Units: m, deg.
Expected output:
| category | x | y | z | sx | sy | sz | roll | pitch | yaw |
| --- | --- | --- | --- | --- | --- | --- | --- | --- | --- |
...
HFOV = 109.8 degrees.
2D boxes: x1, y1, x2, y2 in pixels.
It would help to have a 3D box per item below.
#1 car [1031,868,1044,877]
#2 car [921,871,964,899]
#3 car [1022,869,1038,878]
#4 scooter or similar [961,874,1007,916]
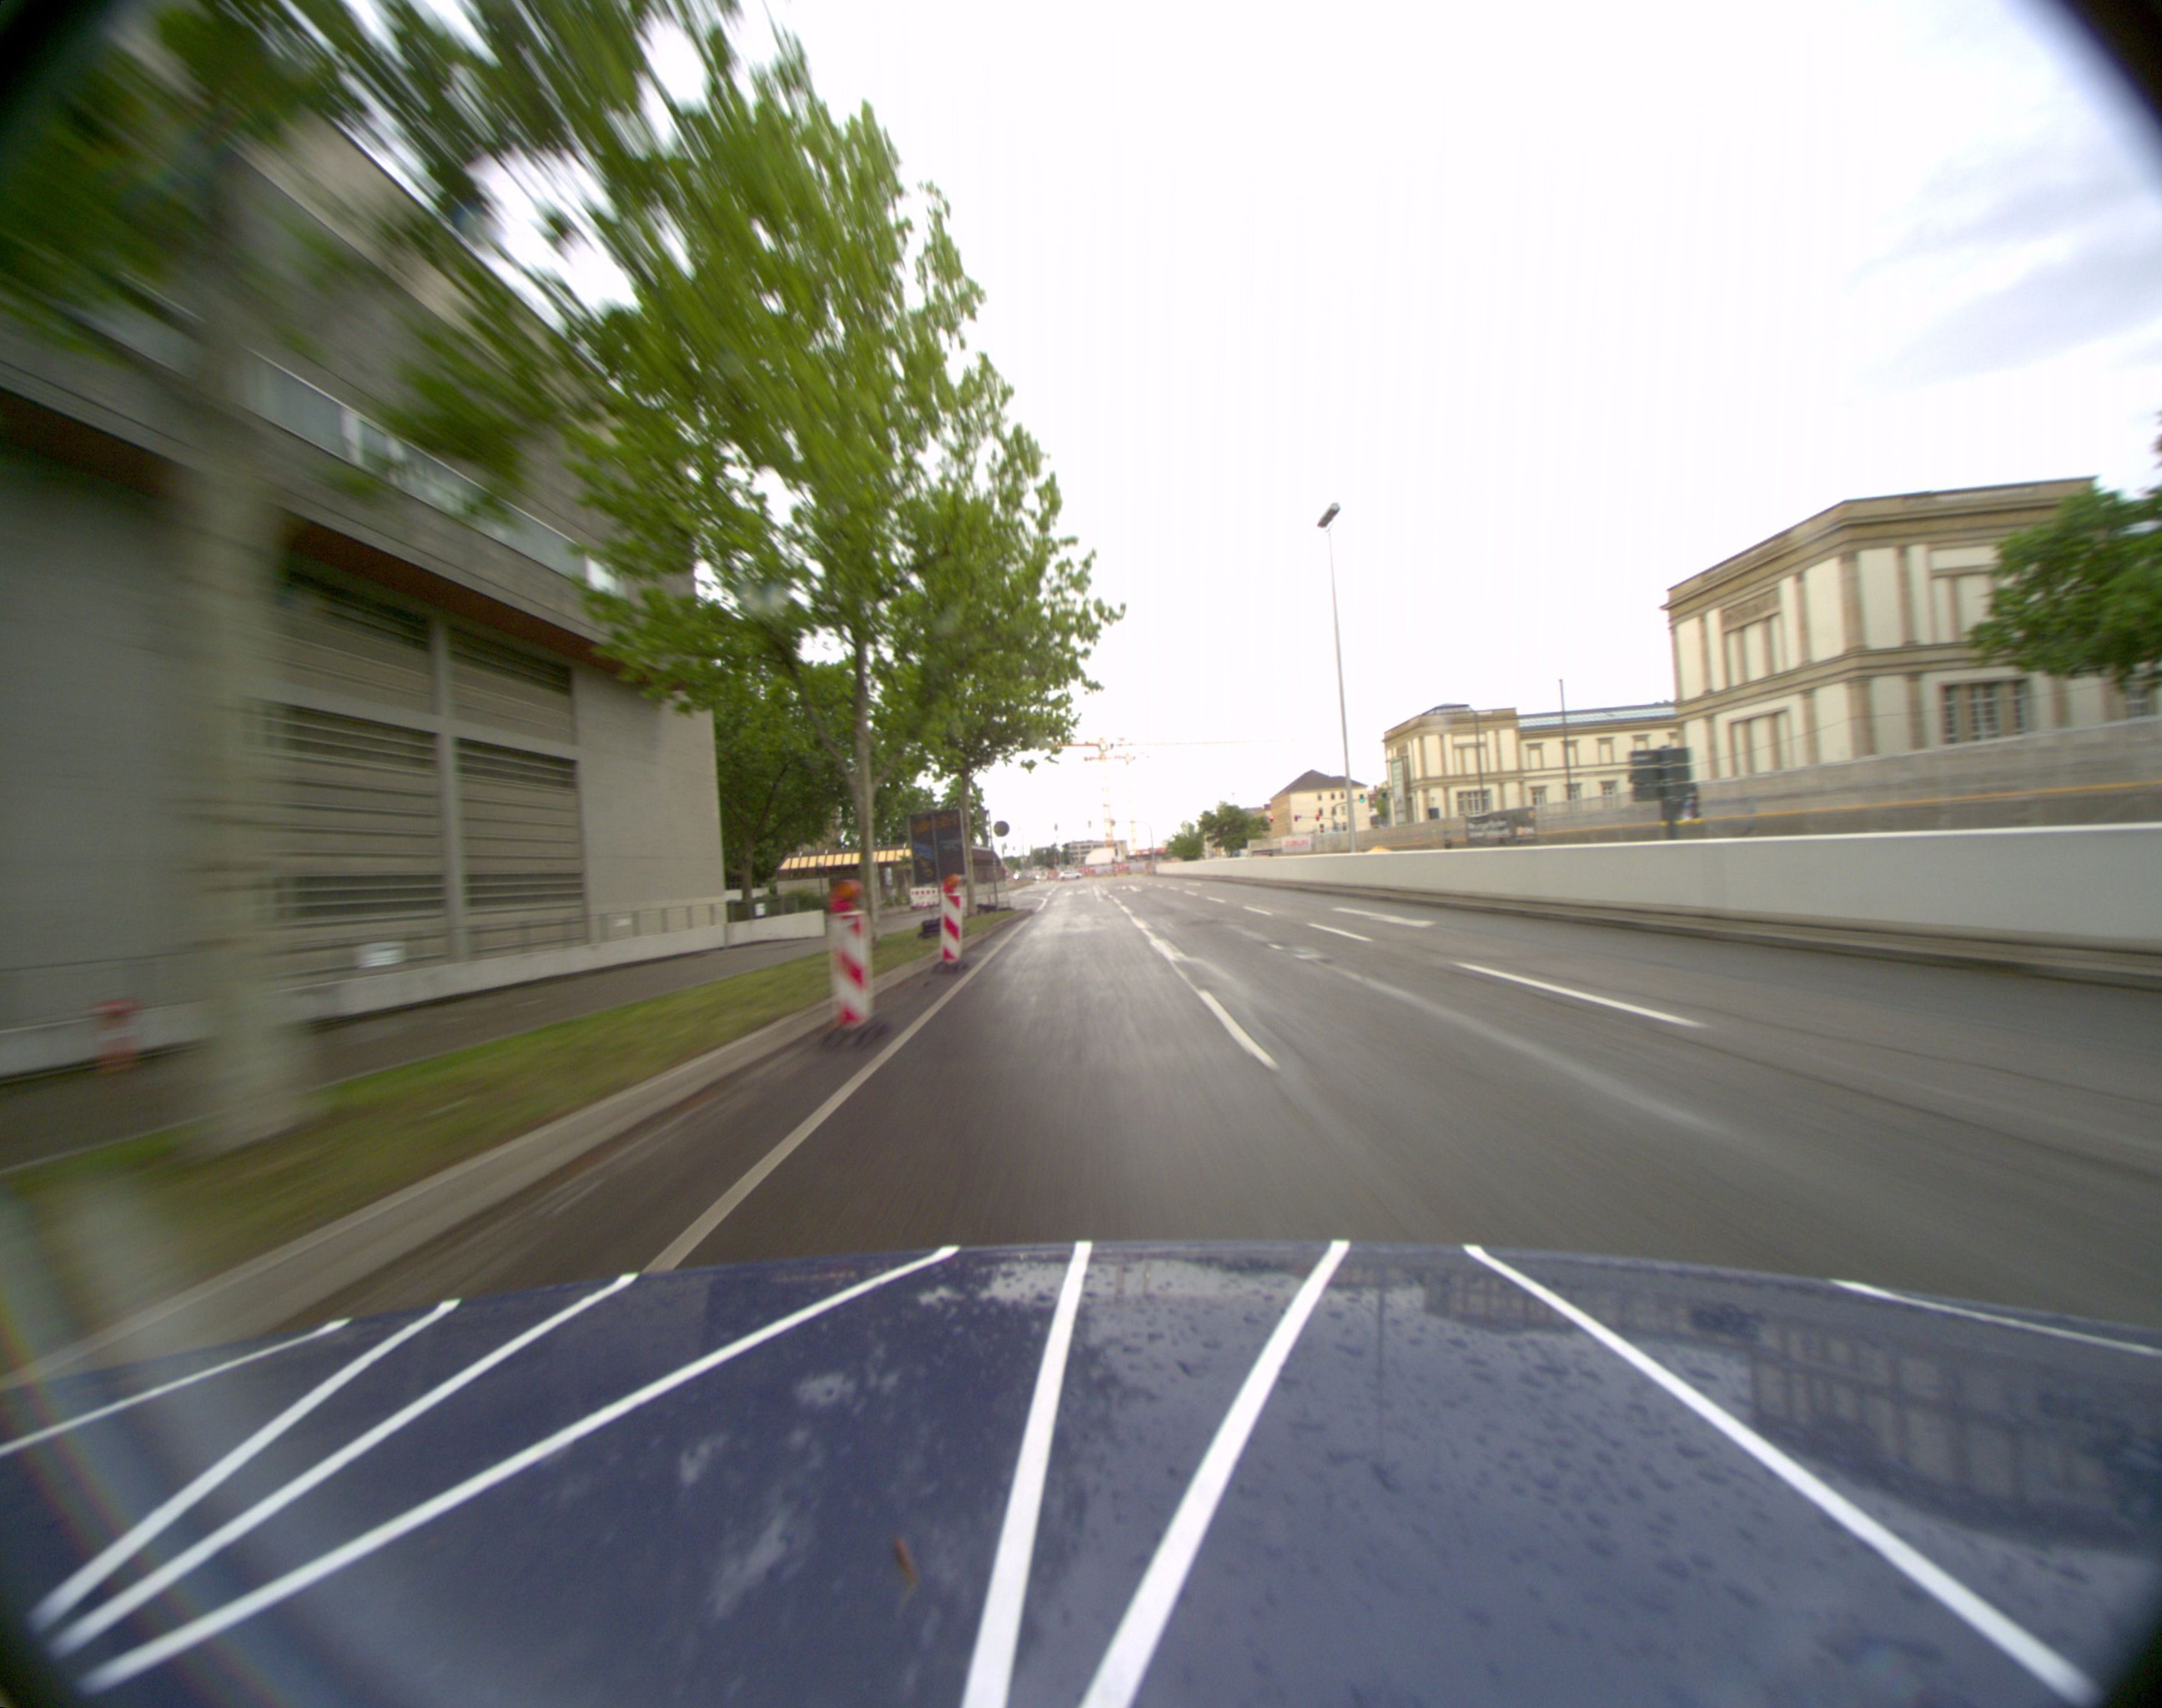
| category | x | y | z | sx | sy | sz | roll | pitch | yaw |
| --- | --- | --- | --- | --- | --- | --- | --- | --- | --- |
| car | -9.354 | 3.925 | 162.383 | 1.862 | 1.556 | 3.798 | -7 | -1 | -16 |
| car | -9.569 | 2.100 | 52.677 | 1.808 | 1.544 | 4.325 | 1 | 3 | 5 |
| car | -11.271 | 4.263 | 167.789 | 2.001 | 1.707 | 4.417 | -6 | -1 | -20 |
| scooter or similar | -3.481 | 1.469 | 27.358 | 1.359 | 1.278 | 0.619 | -9 | 2 | 2 |
